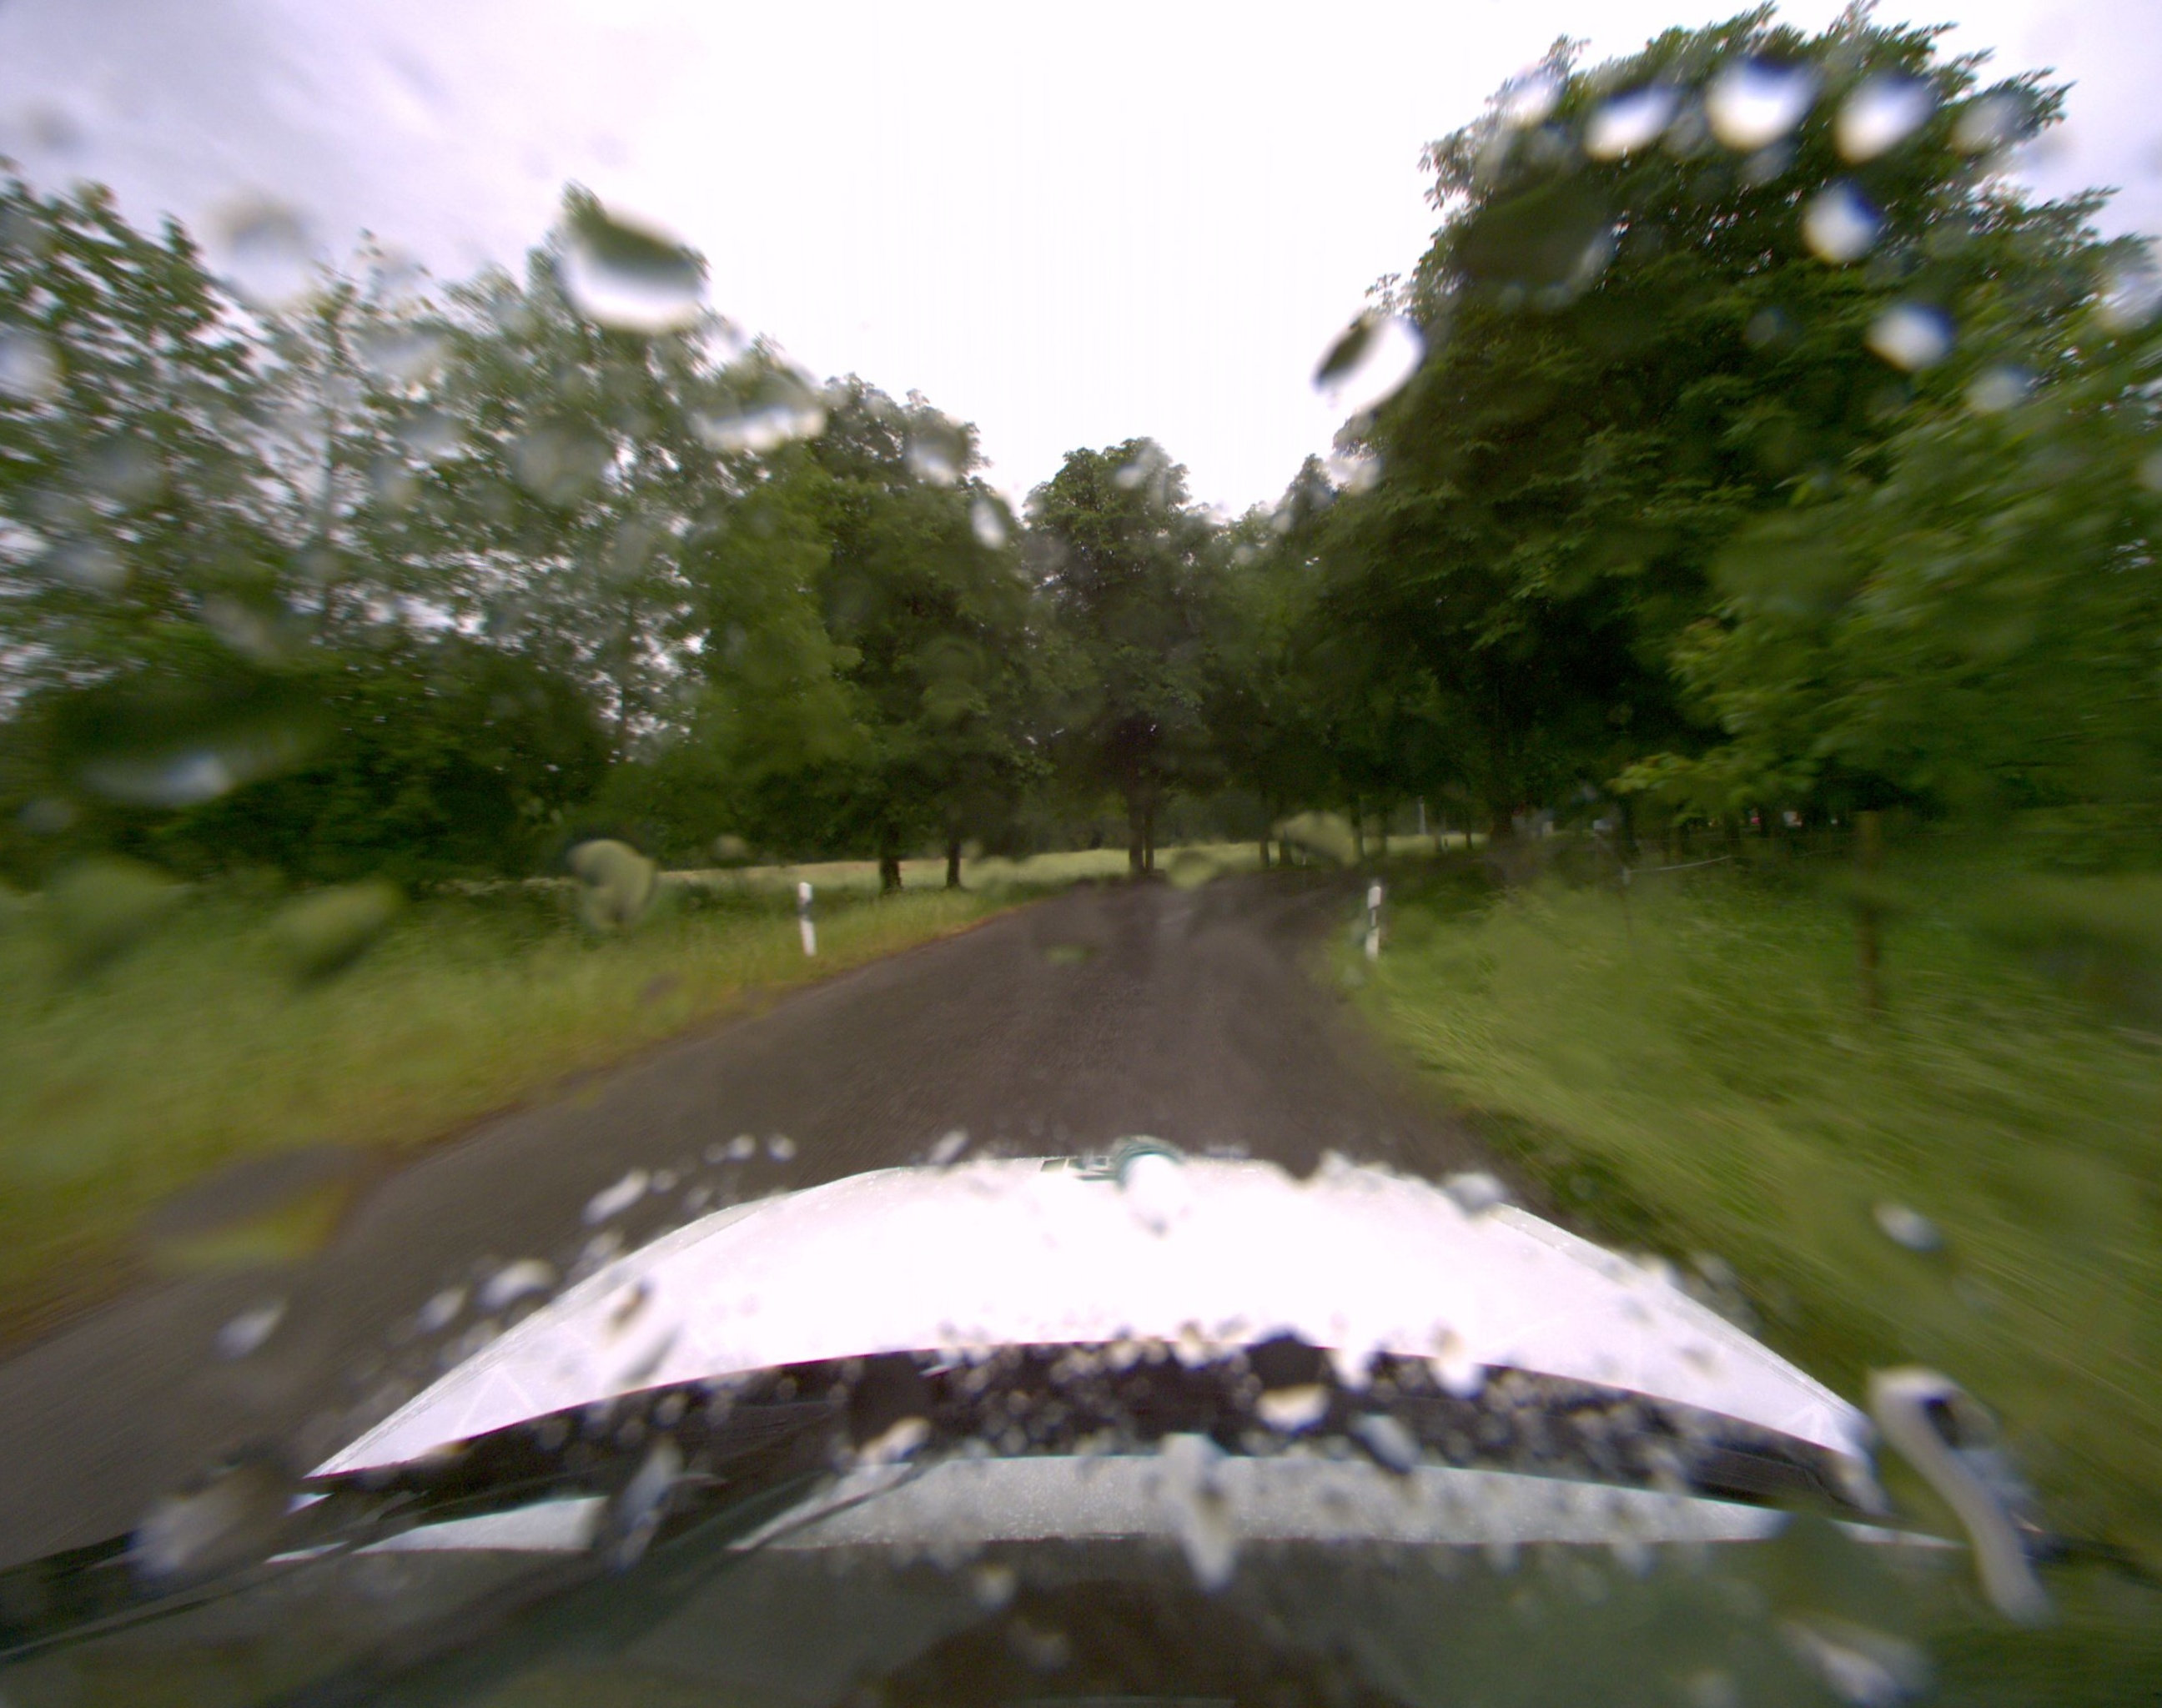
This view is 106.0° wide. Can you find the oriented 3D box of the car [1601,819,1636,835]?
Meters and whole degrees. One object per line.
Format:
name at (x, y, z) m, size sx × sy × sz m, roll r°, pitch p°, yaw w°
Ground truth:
car at (93.376, -4.652, 141.547) m, size 2.376 × 2.407 × 5.986 m, roll -1°, pitch 0°, yaw 2°
